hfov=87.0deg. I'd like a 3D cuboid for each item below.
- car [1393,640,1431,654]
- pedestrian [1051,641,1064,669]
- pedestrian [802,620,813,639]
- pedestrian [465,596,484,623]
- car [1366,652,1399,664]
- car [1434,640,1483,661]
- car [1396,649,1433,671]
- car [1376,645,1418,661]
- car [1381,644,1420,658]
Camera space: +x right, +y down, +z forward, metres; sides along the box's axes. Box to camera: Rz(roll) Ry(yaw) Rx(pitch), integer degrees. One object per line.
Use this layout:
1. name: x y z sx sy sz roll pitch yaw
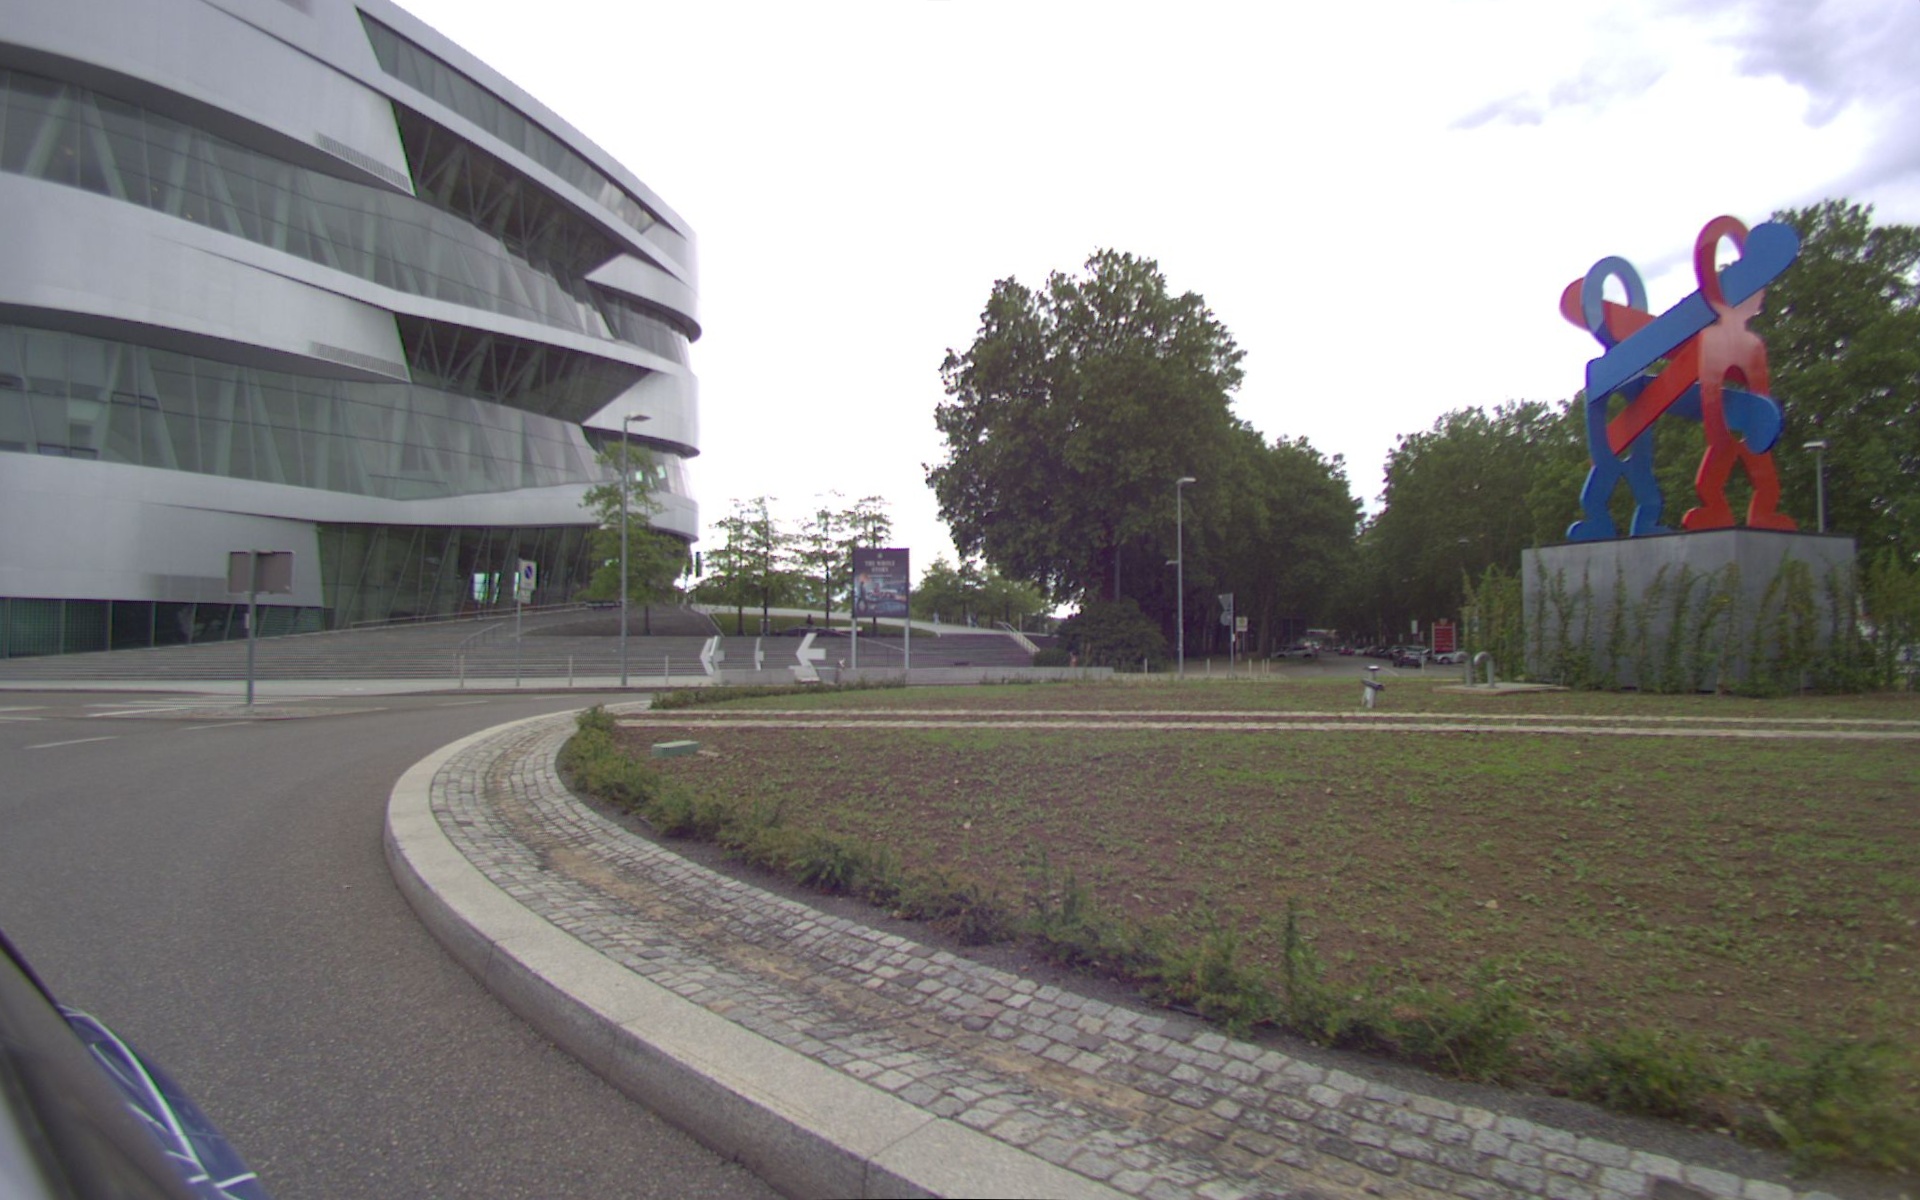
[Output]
1. car: 52.287 5.430 117.020 3.986 1.530 1.855 -1 -3 26
2. pedestrian: 6.371 3.597 66.308 0.585 1.775 0.557 1 -4 -26
3. pedestrian: -11.194 2.170 74.149 0.778 1.398 0.684 0 -4 -12
4. pedestrian: -36.358 0.713 75.779 0.845 1.939 0.948 -2 0 16
5. car: 56.313 7.702 134.946 3.986 1.530 1.855 -3 -4 26
6. car: 44.190 4.512 89.773 3.684 1.791 1.659 -2 -4 20
7. car: 33.766 4.470 75.071 1.791 1.576 4.675 -3 -4 32
8. car: 45.771 5.591 106.017 3.986 1.623 1.851 -3 -4 26
9. car: 49.887 5.786 114.671 3.986 1.530 1.855 -3 -4 26
